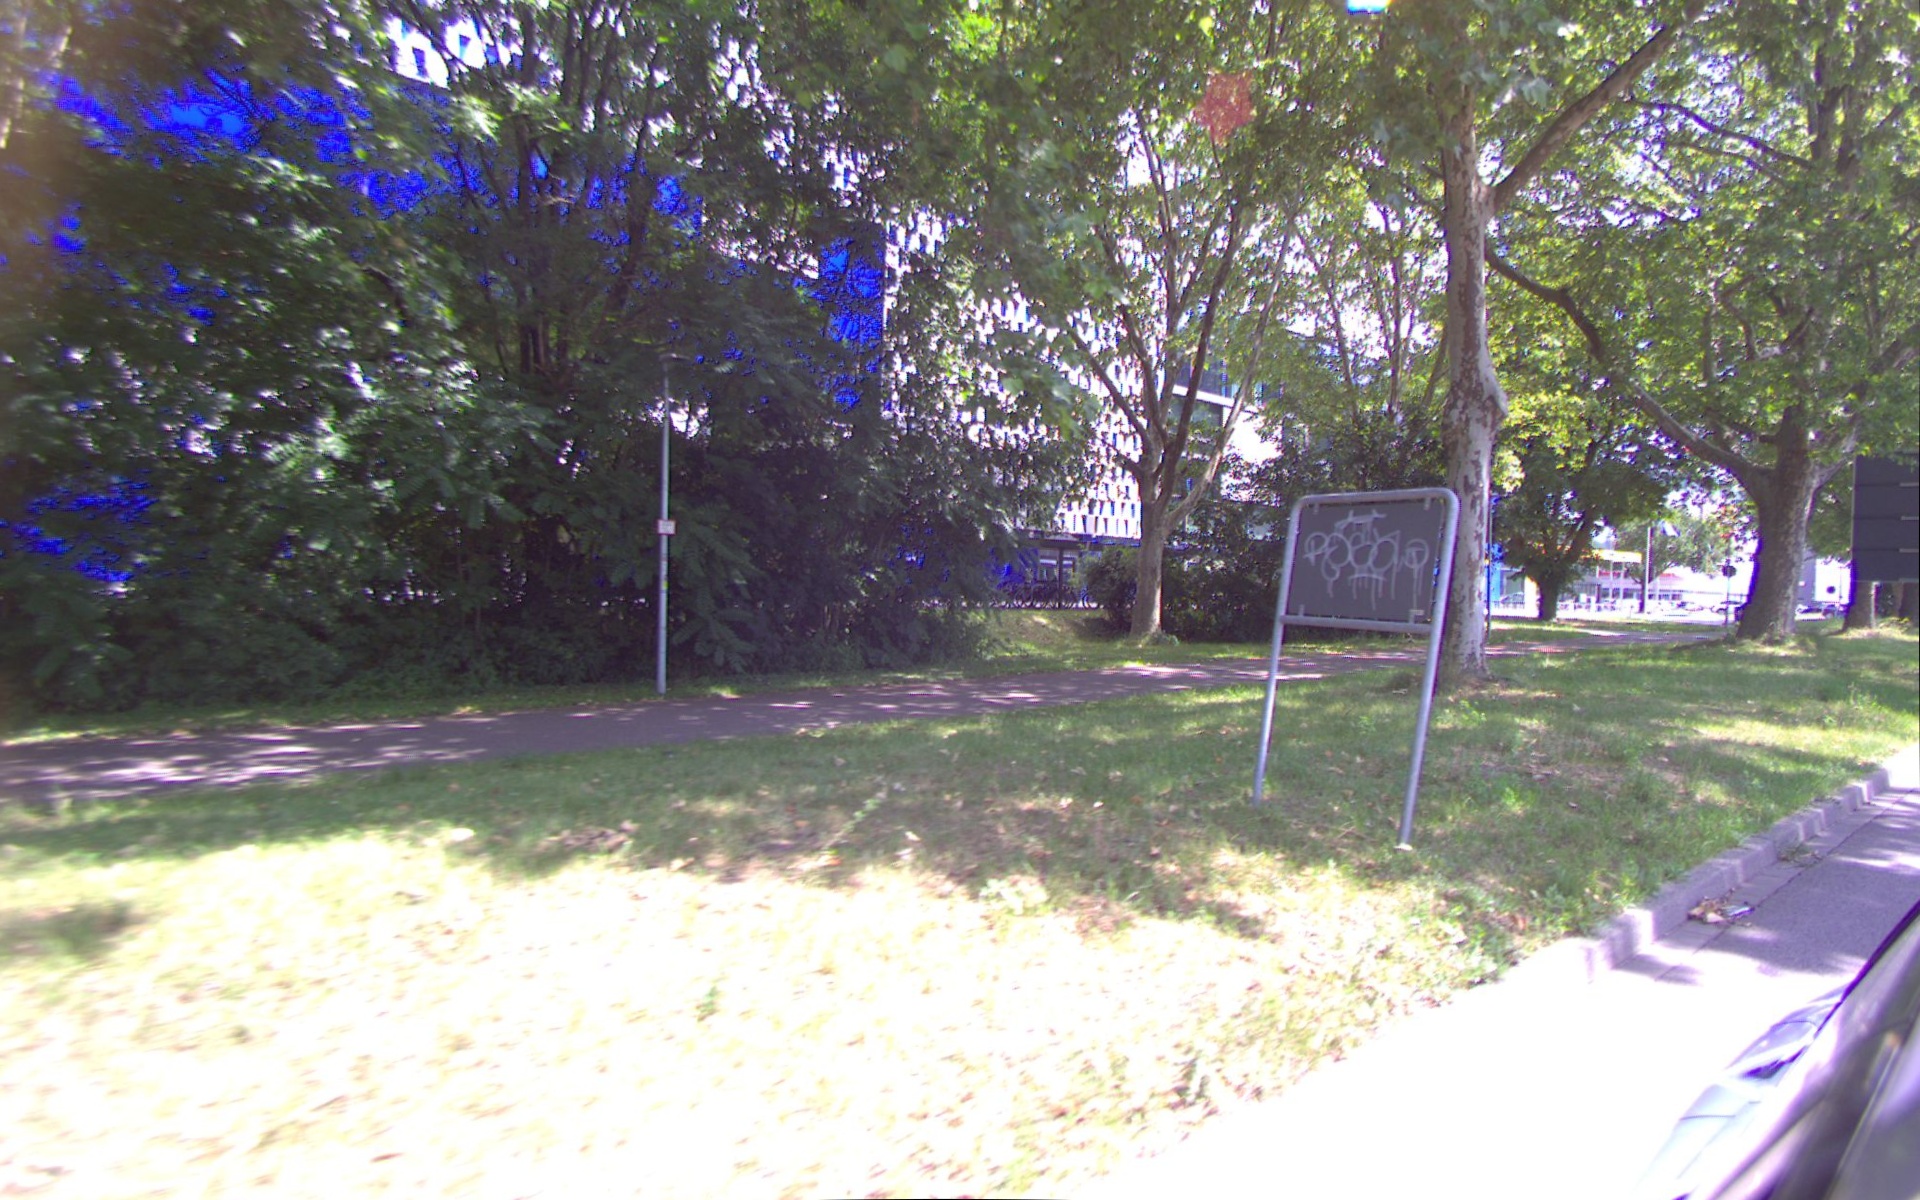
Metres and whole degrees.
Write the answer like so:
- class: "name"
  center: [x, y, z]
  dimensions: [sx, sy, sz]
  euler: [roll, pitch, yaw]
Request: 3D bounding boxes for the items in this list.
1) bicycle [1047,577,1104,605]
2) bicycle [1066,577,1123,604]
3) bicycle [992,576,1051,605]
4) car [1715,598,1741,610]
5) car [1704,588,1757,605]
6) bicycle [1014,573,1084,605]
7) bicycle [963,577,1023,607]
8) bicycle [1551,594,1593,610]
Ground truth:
- class: "bicycle"
  center: [4.240, -0.348, 37.274]
  dimensions: [0.854, 0.981, 2.062]
  euler: [1, 1, -42]
- class: "bicycle"
  center: [5.044, -0.356, 38.025]
  dimensions: [0.854, 0.981, 2.062]
  euler: [1, 1, -42]
- class: "bicycle"
  center: [2.164, -0.325, 35.666]
  dimensions: [0.854, 0.981, 2.062]
  euler: [1, 1, -42]
- class: "car"
  center: [117.170, 0.589, 154.405]
  dimensions: [4.436, 1.918, 1.999]
  euler: [0, 0, -37]
- class: "car"
  center: [79.653, -0.378, 104.663]
  dimensions: [1.965, 1.660, 4.077]
  euler: [0, 1, -40]
- class: "bicycle"
  center: [3.183, -0.408, 36.435]
  dimensions: [0.854, 1.131, 2.631]
  euler: [1, 1, -42]
- class: "bicycle"
  center: [1.118, -0.279, 34.540]
  dimensions: [0.854, 0.981, 2.062]
  euler: [1, 1, -42]
- class: "bicycle"
  center: [37.975, 0.126, 62.778]
  dimensions: [0.854, 0.981, 2.062]
  euler: [1, 1, -42]
